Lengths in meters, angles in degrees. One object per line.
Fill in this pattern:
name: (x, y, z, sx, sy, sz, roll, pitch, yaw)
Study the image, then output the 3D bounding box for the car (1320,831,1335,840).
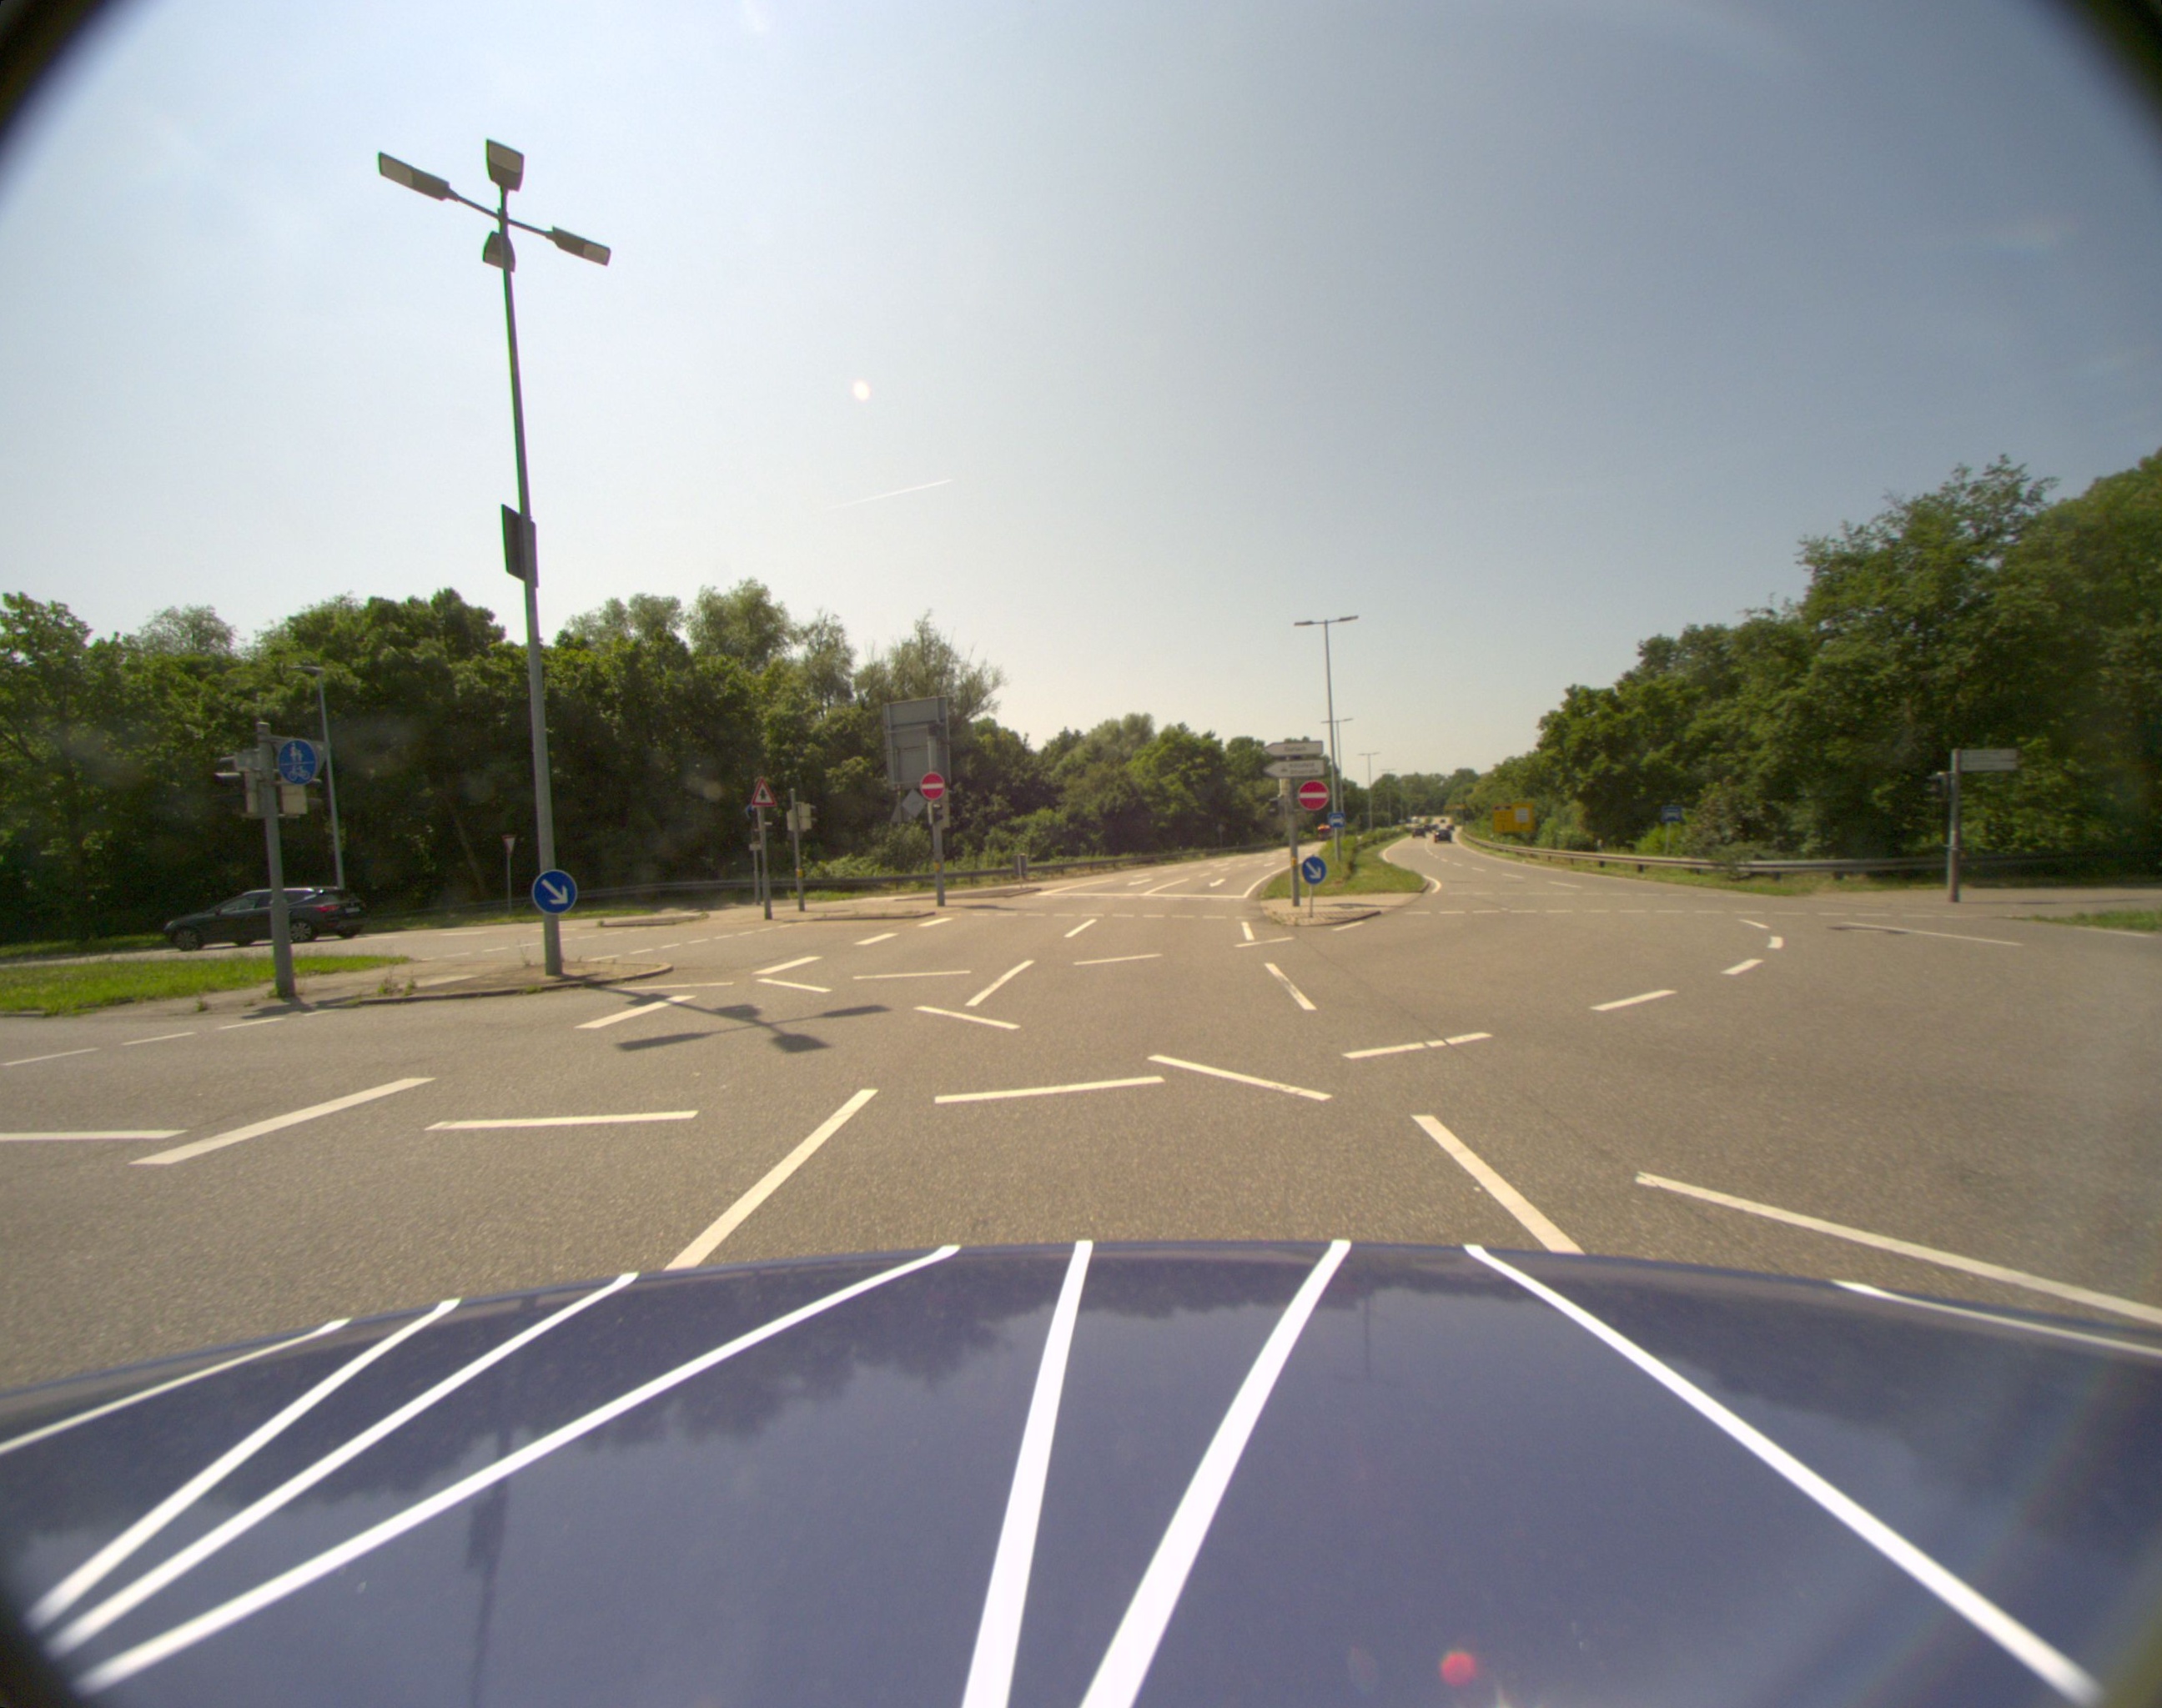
car: (41.036, -3.030, 126.282, 1.842, 1.422, 3.583, -2, 1, 27)

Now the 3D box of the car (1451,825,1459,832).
car: (113.339, -7.629, 230.271, 1.995, 2.002, 4.006, -2, 1, 27)

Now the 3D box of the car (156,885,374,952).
car: (-22.485, 1.744, 21.072, 3.999, 1.543, 1.547, -2, 1, -7)

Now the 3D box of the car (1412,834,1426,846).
car: (50.300, -2.139, 113.174, 1.736, 1.679, 3.829, -2, 1, 23)

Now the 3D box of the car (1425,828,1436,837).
car: (66.486, -4.111, 144.446, 1.777, 1.494, 3.585, -2, 1, 25)

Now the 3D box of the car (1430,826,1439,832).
car: (83.119, -5.855, 178.605, 1.585, 1.477, 3.555, -2, 1, 27)

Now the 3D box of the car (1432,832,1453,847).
car: (41.799, -1.707, 87.948, 1.709, 1.617, 4.005, -2, 1, 20)

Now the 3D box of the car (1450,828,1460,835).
car: (80.542, -4.776, 163.652, 1.777, 1.494, 3.585, -2, 1, 26)
